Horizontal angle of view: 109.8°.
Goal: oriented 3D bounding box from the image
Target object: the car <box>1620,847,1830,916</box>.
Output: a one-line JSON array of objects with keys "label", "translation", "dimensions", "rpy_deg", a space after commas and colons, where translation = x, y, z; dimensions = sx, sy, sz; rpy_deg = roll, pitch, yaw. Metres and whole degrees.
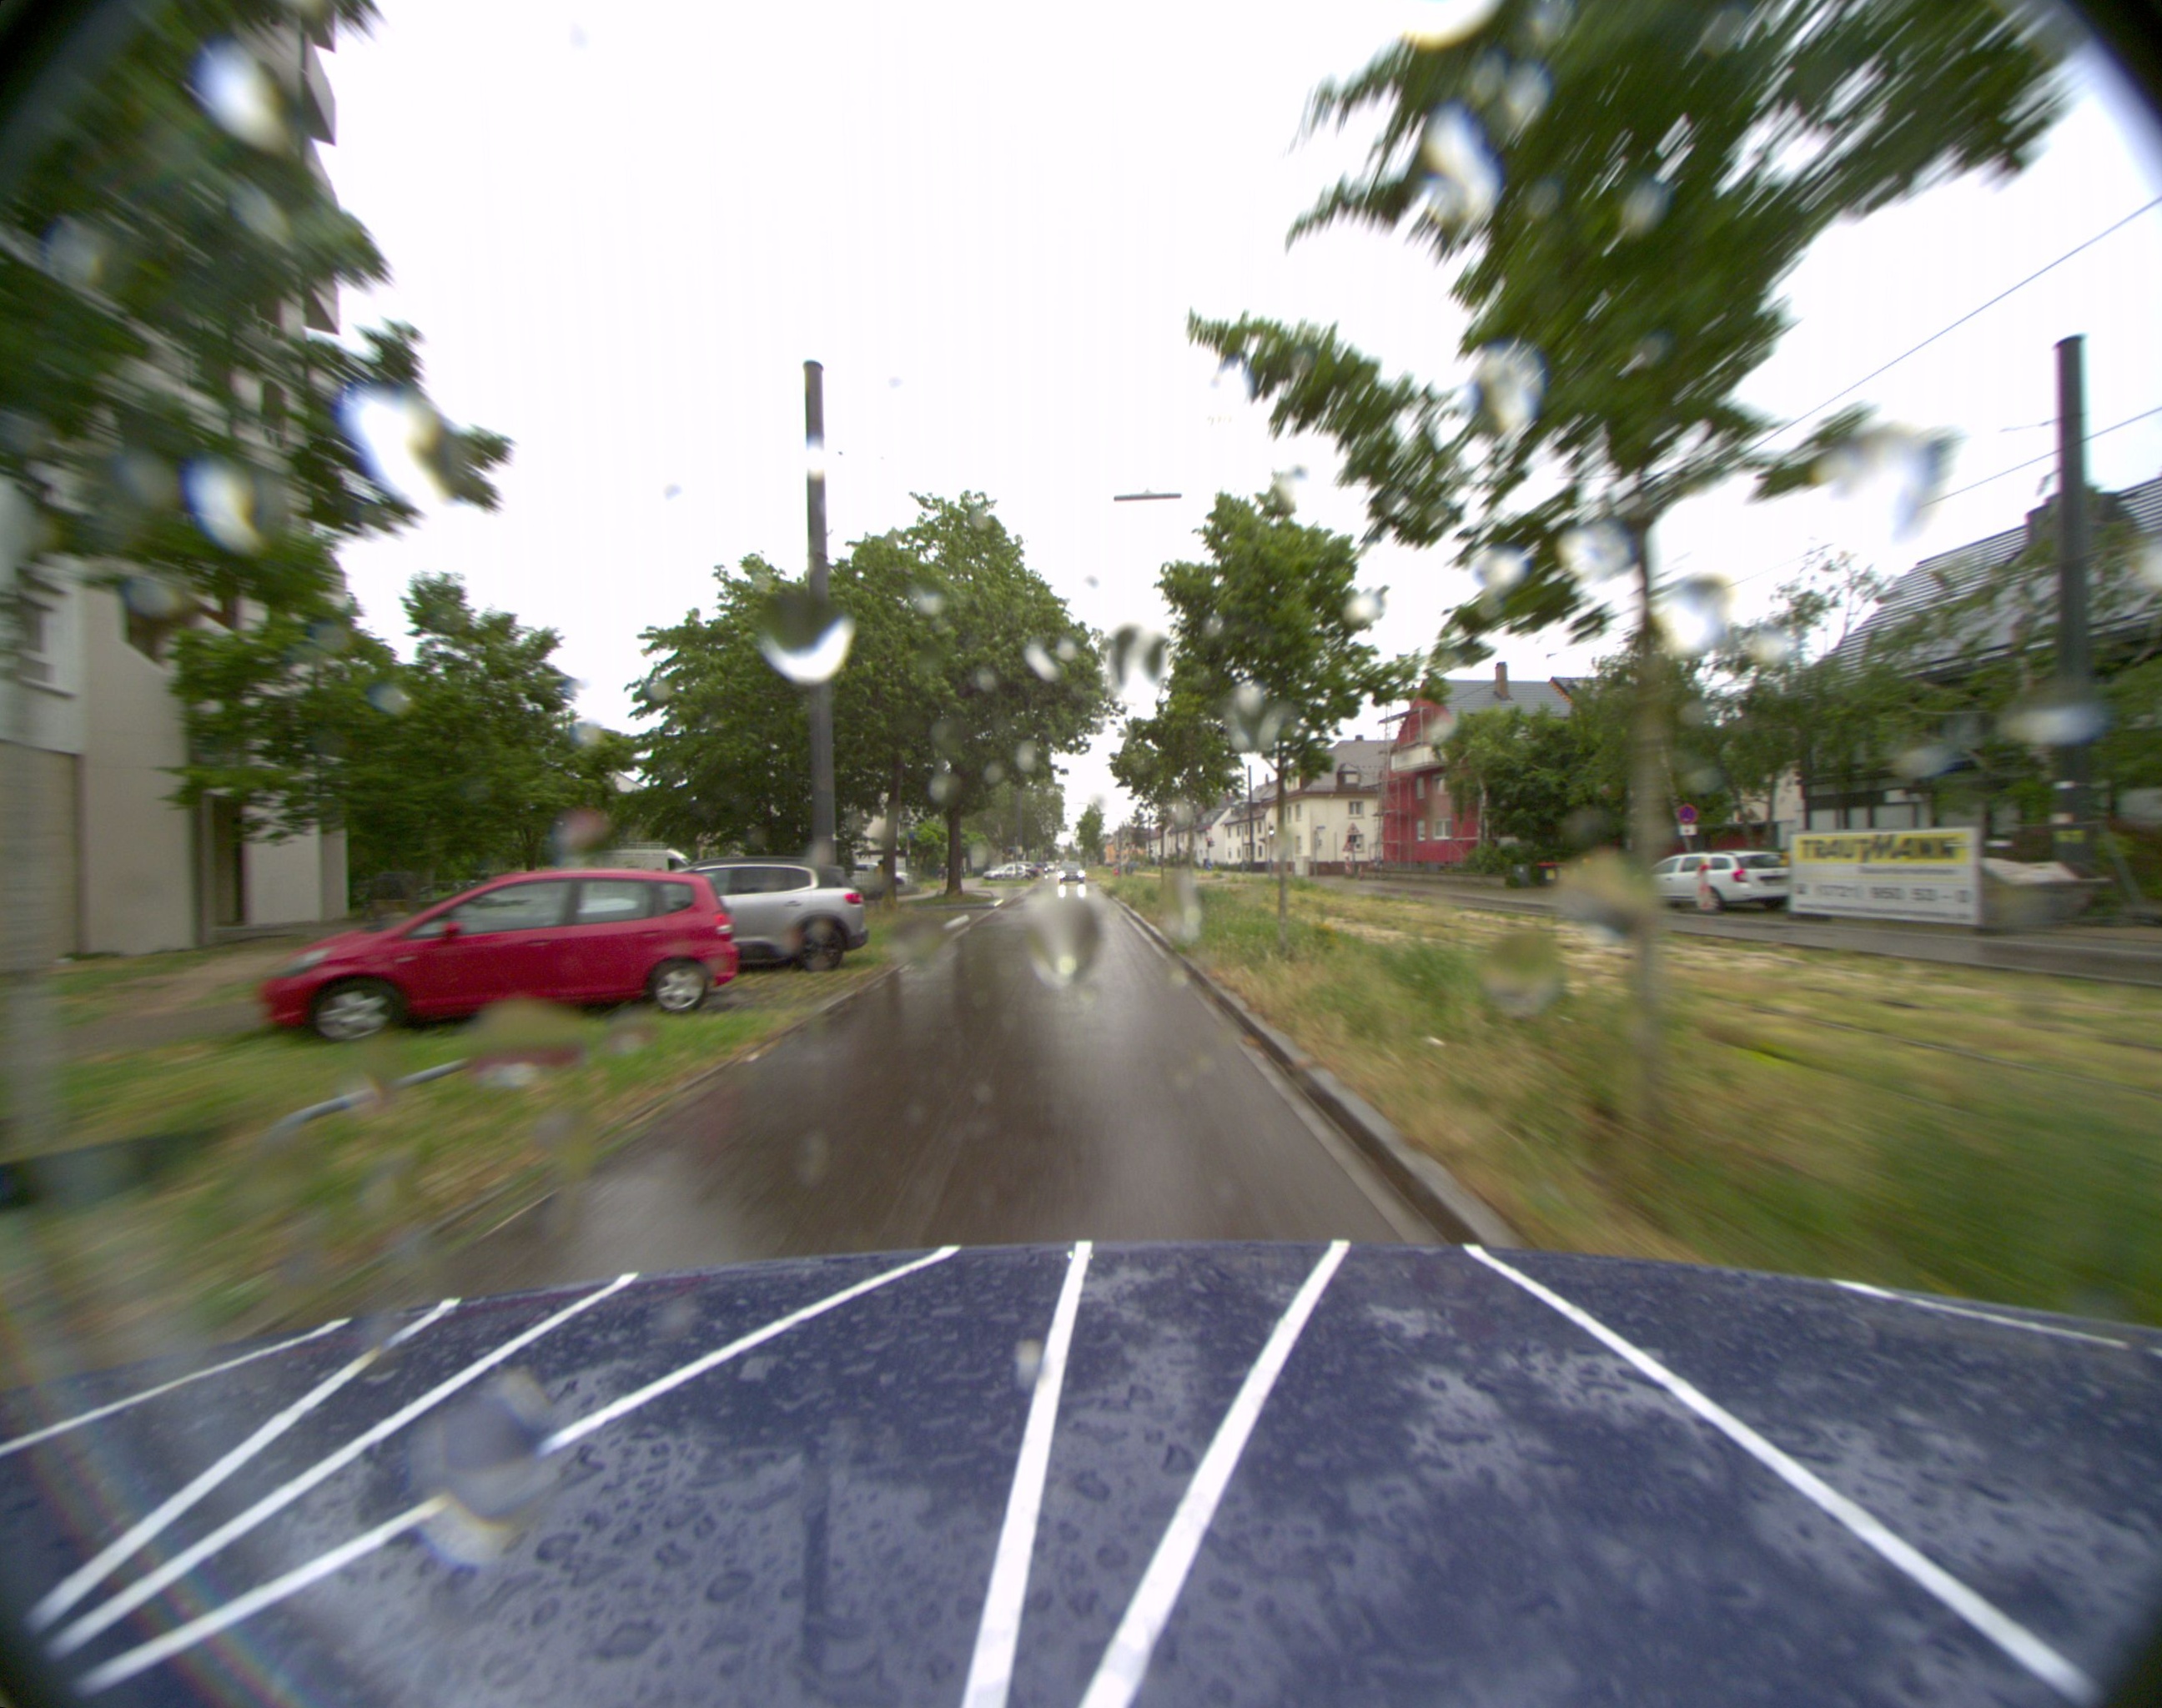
[{"label": "car", "translation": [17.124, 0.646, 20.545], "dimensions": [1.999, 1.618, 4.250], "rpy_deg": [-2, 1, -1]}]

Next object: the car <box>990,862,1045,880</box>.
[{"label": "car", "translation": [-5.789, 1.534, 69.339], "dimensions": [4.485, 1.320, 1.996], "rpy_deg": [-3, 1, -27]}]

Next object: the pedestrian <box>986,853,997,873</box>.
[{"label": "pedestrian", "translation": [-9.673, 0.962, 82.104], "dimensions": [1.014, 2.002, 1.158], "rpy_deg": [-2, 1, -2]}]

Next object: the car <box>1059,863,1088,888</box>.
[{"label": "car", "translation": [-0.526, 1.559, 56.391], "dimensions": [1.998, 1.611, 3.999], "rpy_deg": [-2, 1, 1]}]

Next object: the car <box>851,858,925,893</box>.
[{"label": "car", "translation": [-11.140, 1.199, 43.897], "dimensions": [4.002, 1.742, 1.997], "rpy_deg": [-2, 1, -15]}]

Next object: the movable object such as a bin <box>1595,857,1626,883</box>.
[{"label": "movable object such as a bin", "translation": [23.844, 0.715, 34.214], "dimensions": [0.812, 1.141, 0.821], "rpy_deg": [-2, 1, 1]}]

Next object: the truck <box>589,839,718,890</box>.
[{"label": "truck", "translation": [-23.071, 0.522, 41.309], "dimensions": [5.680, 2.424, 2.121], "rpy_deg": [-2, 1, -17]}]

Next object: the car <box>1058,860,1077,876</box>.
[{"label": "car", "translation": [-1.653, 1.761, 93.924], "dimensions": [1.998, 1.761, 4.000], "rpy_deg": [-2, 1, 2]}]

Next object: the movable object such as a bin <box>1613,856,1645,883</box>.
[{"label": "movable object such as a bin", "translation": [24.690, 0.683, 34.230], "dimensions": [0.812, 1.141, 0.821], "rpy_deg": [-2, 1, 1]}]

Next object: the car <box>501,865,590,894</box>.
[{"label": "car", "translation": [-27.871, 1.300, 39.635], "dimensions": [3.422, 1.275, 1.599], "rpy_deg": [-2, 1, -17]}]

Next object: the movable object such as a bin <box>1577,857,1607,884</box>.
[{"label": "movable object such as a bin", "translation": [22.993, 0.748, 34.198], "dimensions": [0.812, 1.141, 0.821], "rpy_deg": [-2, 1, 1]}]

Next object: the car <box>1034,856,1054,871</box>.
[{"label": "car", "translation": [-4.638, 1.144, 95.626], "dimensions": [1.998, 1.696, 4.000], "rpy_deg": [-2, 1, 2]}]

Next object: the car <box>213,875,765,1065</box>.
[{"label": "car", "translation": [-5.606, 0.979, 7.822], "dimensions": [4.055, 1.479, 1.720], "rpy_deg": [2, -1, -35]}]

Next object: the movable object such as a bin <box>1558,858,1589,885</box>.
[{"label": "movable object such as a bin", "translation": [22.153, 0.781, 34.198], "dimensions": [0.812, 1.141, 0.821], "rpy_deg": [-2, 1, 1]}]

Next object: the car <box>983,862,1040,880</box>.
[{"label": "car", "translation": [-6.086, 1.442, 66.402], "dimensions": [4.485, 1.320, 1.995], "rpy_deg": [-3, 1, -29]}]

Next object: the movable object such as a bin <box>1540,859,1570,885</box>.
[{"label": "movable object such as a bin", "translation": [21.341, 0.812, 34.208], "dimensions": [0.812, 1.141, 0.821], "rpy_deg": [-2, 1, 1]}]

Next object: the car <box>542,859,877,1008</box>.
[{"label": "car", "translation": [-5.232, 0.966, 10.951], "dimensions": [4.054, 1.676, 1.720], "rpy_deg": [-2, 1, -35]}]
